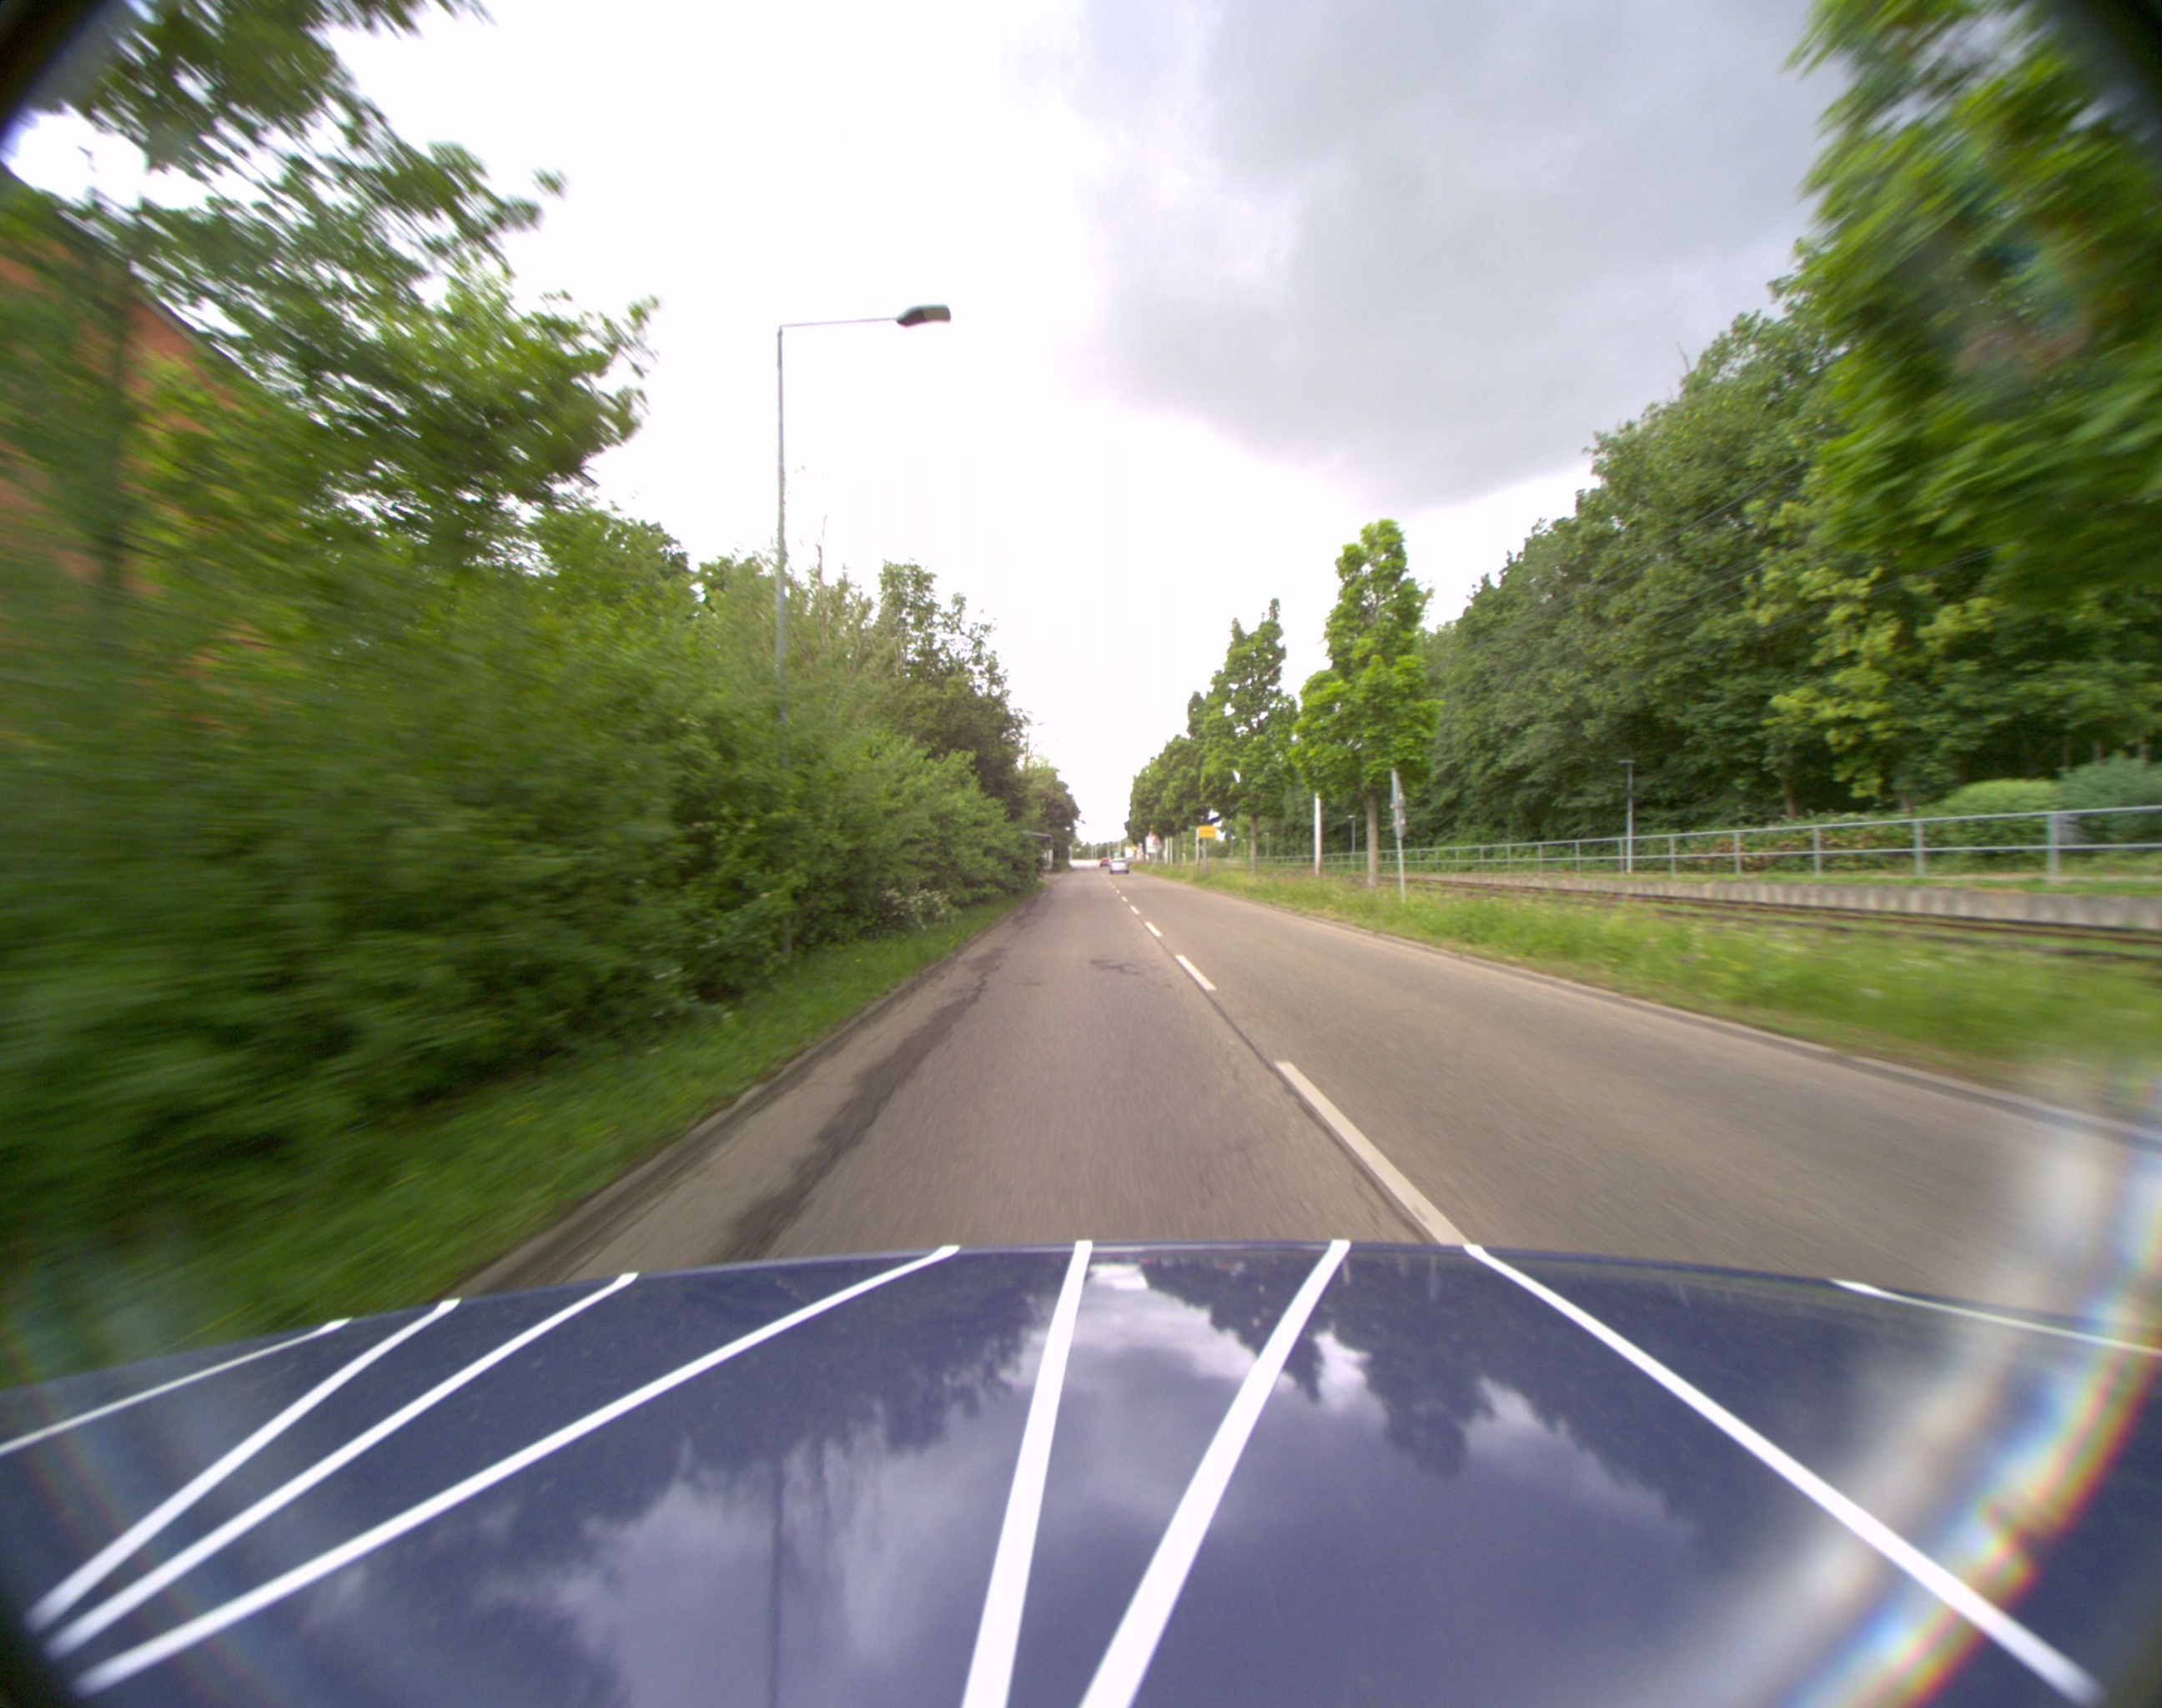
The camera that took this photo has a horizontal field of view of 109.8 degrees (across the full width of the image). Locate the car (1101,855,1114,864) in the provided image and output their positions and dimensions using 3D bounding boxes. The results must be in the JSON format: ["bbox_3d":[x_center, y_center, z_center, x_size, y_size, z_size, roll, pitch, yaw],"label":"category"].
[{"bbox_3d":[4.424,0.960,128.720,2.038,1.508,3.654,-1,0,1],"label":"car"}]

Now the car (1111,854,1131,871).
[{"bbox_3d":[3.800,0.799,72.975,1.778,1.460,4.242,-1,0,1],"label":"car"}]
